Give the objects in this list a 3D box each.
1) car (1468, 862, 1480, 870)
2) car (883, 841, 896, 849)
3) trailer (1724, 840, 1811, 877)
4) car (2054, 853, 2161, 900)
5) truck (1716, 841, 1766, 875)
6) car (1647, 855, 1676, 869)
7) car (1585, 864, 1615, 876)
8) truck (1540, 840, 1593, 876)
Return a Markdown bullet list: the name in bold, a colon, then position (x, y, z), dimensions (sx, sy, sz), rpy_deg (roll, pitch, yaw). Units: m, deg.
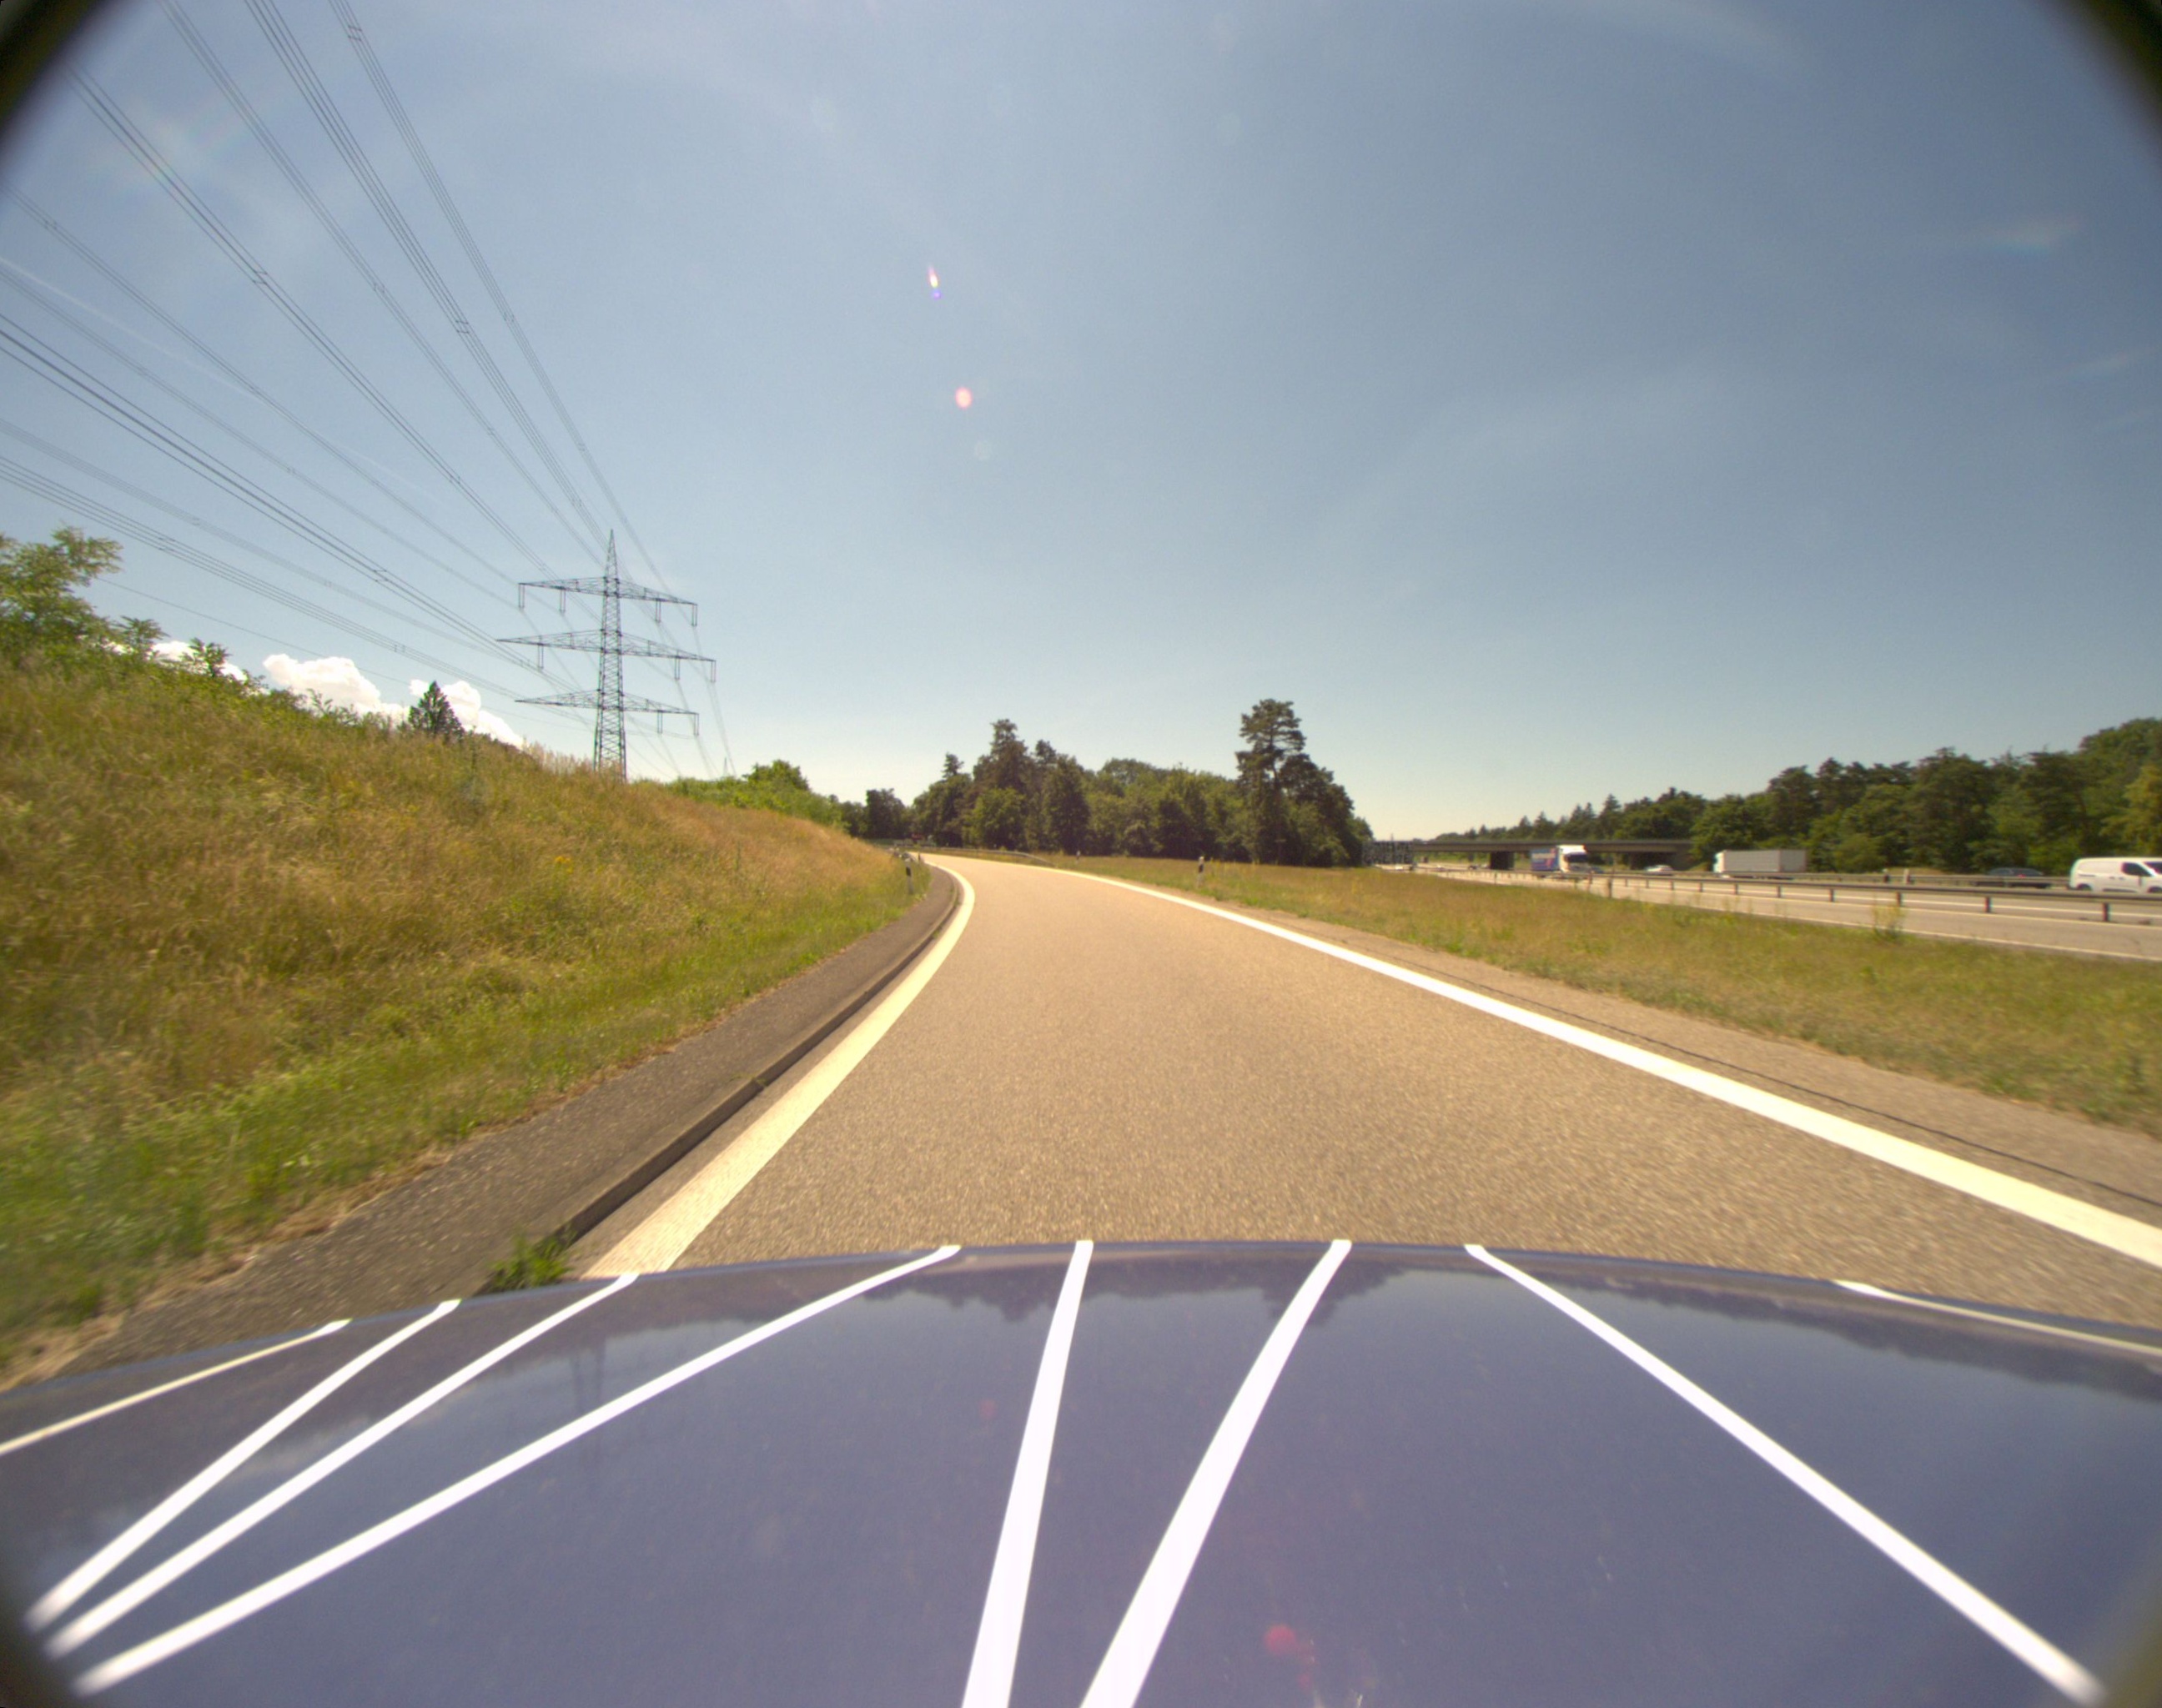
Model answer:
- **car**: position (92.538, 2.879, 178.971), dimensions (1.996, 1.707, 4.006), rpy_deg (-1, 0, 19)
- **car**: position (-42.725, -2.015, 169.679), dimensions (2.003, 1.631, 5.260), rpy_deg (2, 1, -22)
- **trailer**: position (88.200, 0.568, 98.094), dimensions (2.927, 4.362, 14.318), rpy_deg (2, 1, 20)
- **car**: position (41.710, 0.827, 29.871), dimensions (1.773, 1.743, 5.027), rpy_deg (0, 0, 18)
- **truck**: position (90.332, 0.530, 104.056), dimensions (2.941, 4.367, 6.280), rpy_deg (2, 1, 19)
- **car**: position (82.992, 1.143, 108.658), dimensions (1.995, 1.837, 4.365), rpy_deg (0, -1, 19)
- **car**: position (68.342, 2.096, 100.151), dimensions (1.996, 1.467, 4.248), rpy_deg (-1, 0, 16)
- **truck**: position (58.765, 0.527, 92.303), dimensions (2.706, 4.034, 11.063), rpy_deg (-1, 0, 18)
